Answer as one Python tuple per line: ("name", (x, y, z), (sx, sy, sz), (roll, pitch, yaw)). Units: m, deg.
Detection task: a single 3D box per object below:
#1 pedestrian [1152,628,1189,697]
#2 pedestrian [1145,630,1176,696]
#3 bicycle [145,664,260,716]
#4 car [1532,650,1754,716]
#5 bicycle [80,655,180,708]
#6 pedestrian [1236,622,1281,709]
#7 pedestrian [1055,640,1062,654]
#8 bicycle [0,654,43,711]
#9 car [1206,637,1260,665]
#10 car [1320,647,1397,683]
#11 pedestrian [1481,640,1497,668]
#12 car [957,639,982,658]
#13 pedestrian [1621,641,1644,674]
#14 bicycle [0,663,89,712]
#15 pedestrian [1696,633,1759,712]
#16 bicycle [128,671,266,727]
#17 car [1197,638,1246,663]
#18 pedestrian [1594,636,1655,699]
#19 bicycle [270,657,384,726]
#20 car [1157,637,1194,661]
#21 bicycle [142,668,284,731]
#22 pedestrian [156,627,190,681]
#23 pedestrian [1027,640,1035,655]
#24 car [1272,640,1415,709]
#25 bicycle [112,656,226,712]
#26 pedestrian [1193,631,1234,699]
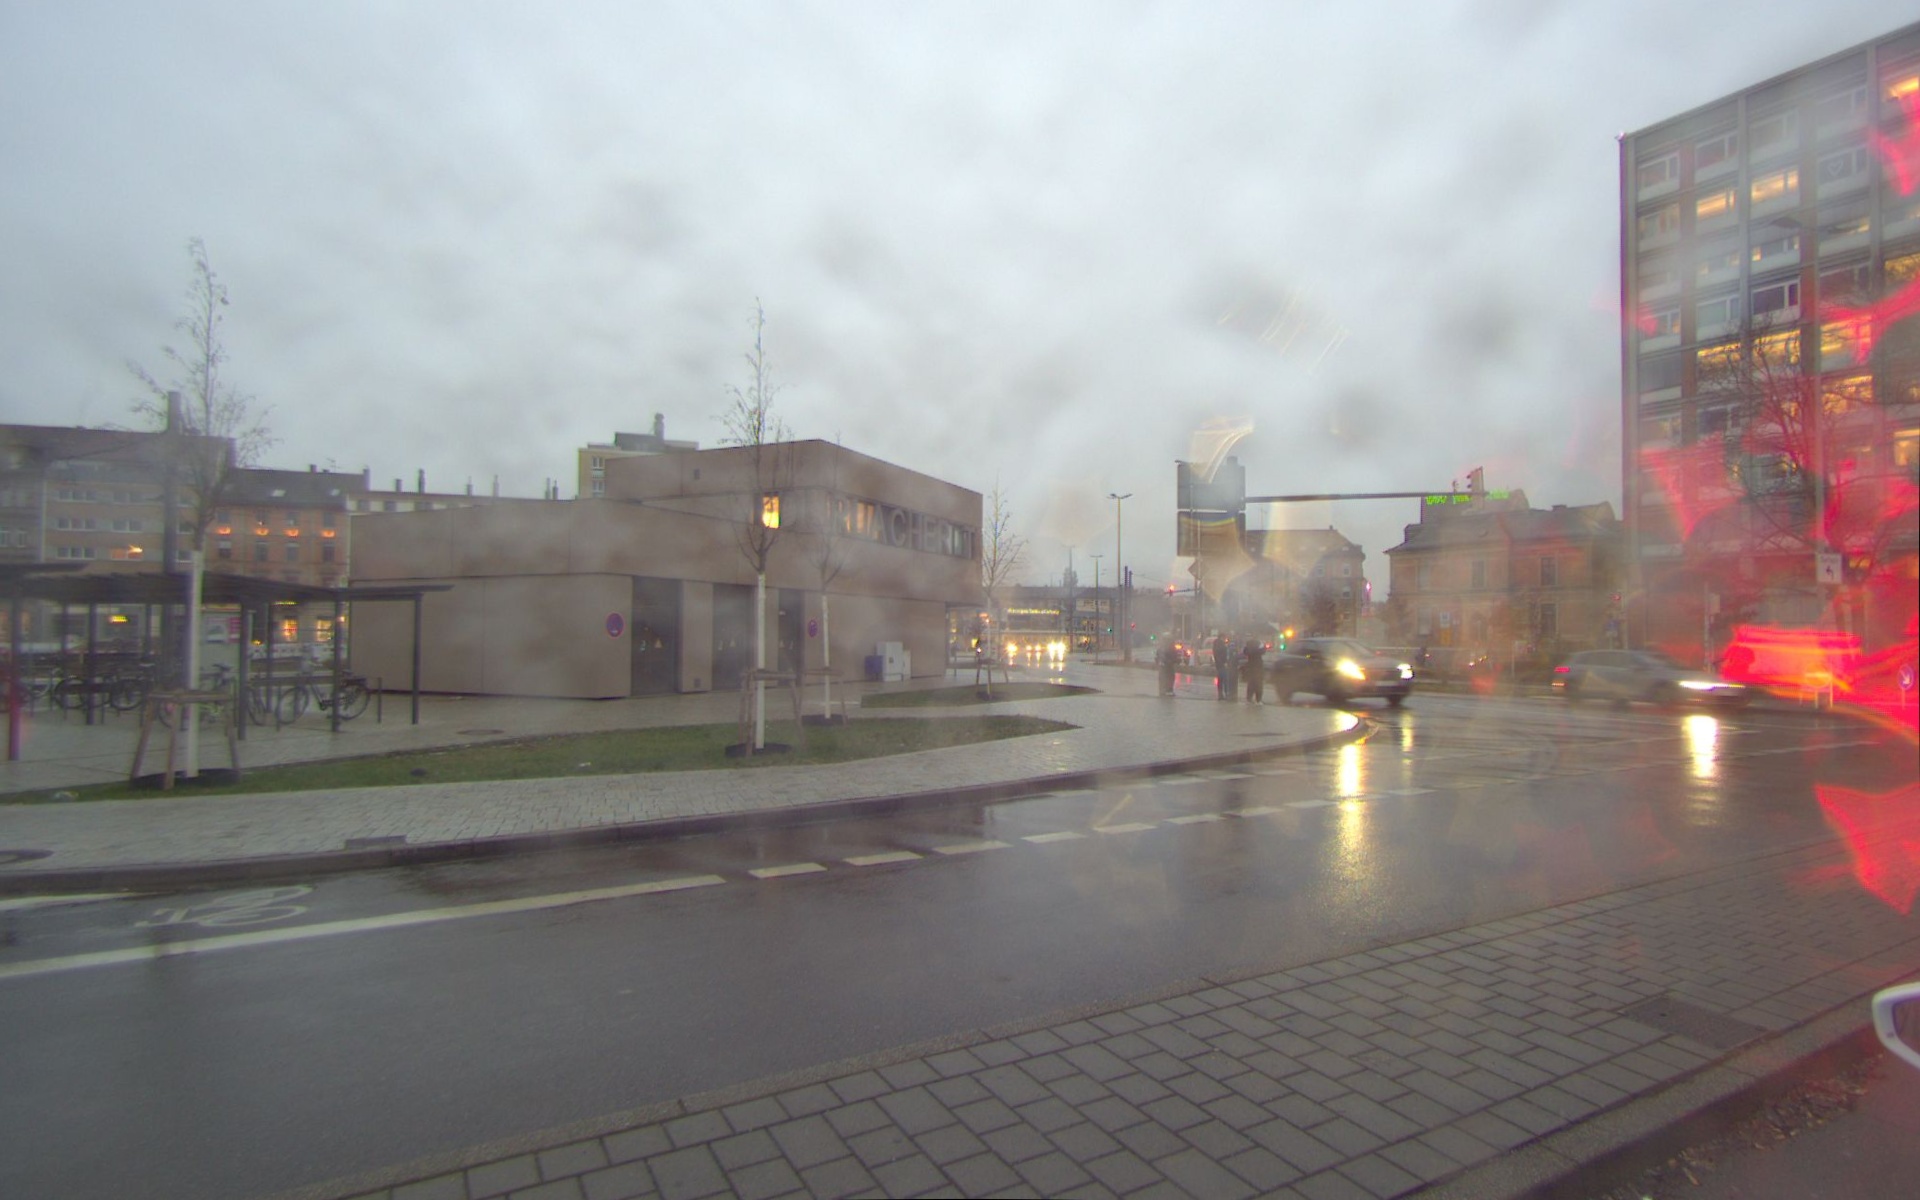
("pedestrian", (5.732, 1.693, 27.390), (0.666, 1.863, 0.731), (0, -2, -21))
("pedestrian", (5.598, 1.754, 28.064), (0.540, 1.793, 0.739), (0, -2, -21))
("bicycle", (-15.182, 1.781, 20.178), (0.466, 0.968, 1.767), (1, -2, 29))
("car", (17.284, 2.050, 25.750), (1.781, 1.496, 4.657), (1, -3, -16))
("bicycle", (-17.689, 1.713, 21.437), (0.511, 1.050, 1.573), (1, -2, 19))
("pedestrian", (7.252, 1.580, 24.368), (0.971, 2.047, 0.802), (-1, -2, 19))
("pedestrian", (15.272, 7.256, 155.360), (0.960, 2.040, 0.920), (-1, -2, 11))
("bicycle", (-19.396, 1.636, 19.843), (0.466, 1.122, 1.797), (1, -2, 29))
("car", (19.619, 3.659, 72.357), (3.514, 1.850, 1.672), (2, 0, 8))
("car", (20.494, 3.314, 51.820), (1.795, 1.589, 3.991), (2, 0, -11))
("pedestrian", (32.095, 3.268, 60.964), (0.624, 1.710, 0.641), (0, -2, -2))
("car", (0.827, 4.310, 89.792), (1.649, 1.598, 3.420), (0, -2, -9))
("pedestrian", (33.744, 2.896, 50.439), (0.548, 1.649, 0.760), (0, -2, -15))
("bicycle", (-18.511, 1.736, 19.994), (0.466, 0.903, 1.693), (1, -2, 24))
("pedestrian", (20.065, 1.886, 26.283), (0.946, 2.004, 0.925), (0, -2, -24))
("bicycle", (-13.589, 1.740, 17.955), (0.466, 0.903, 1.923), (1, -2, 29))
("car", (19.389, 3.726, 74.502), (3.321, 1.724, 1.526), (2, 0, 8))
("pedestrian", (20.433, 2.066, 30.923), (1.116, 1.867, 1.005), (-3, -2, 3))
("bicycle", (-11.752, 1.678, 18.723), (0.605, 1.172, 1.755), (1, -2, 20))
("car", (16.015, 3.610, 74.892), (1.791, 1.589, 3.999), (2, 0, -1))
("bicycle", (-12.938, 1.706, 17.463), (0.466, 0.989, 1.923), (1, -2, 29))
("pedestrian", (-25.137, 1.724, 32.092), (0.519, 1.688, 0.699), (-2, -2, 34))
("pedestrian", (9.670, 6.437, 136.431), (0.960, 2.040, 0.920), (-1, -2, 11))
("car", (9.596, 1.834, 25.507), (1.742, 1.598, 3.997), (0, -2, -6))
("bicycle", (-16.532, 1.739, 21.043), (0.466, 1.087, 1.830), (1, -2, 26))
("pedestrian", (6.726, 1.717, 26.695), (0.838, 1.778, 0.659), (0, -2, -14))
